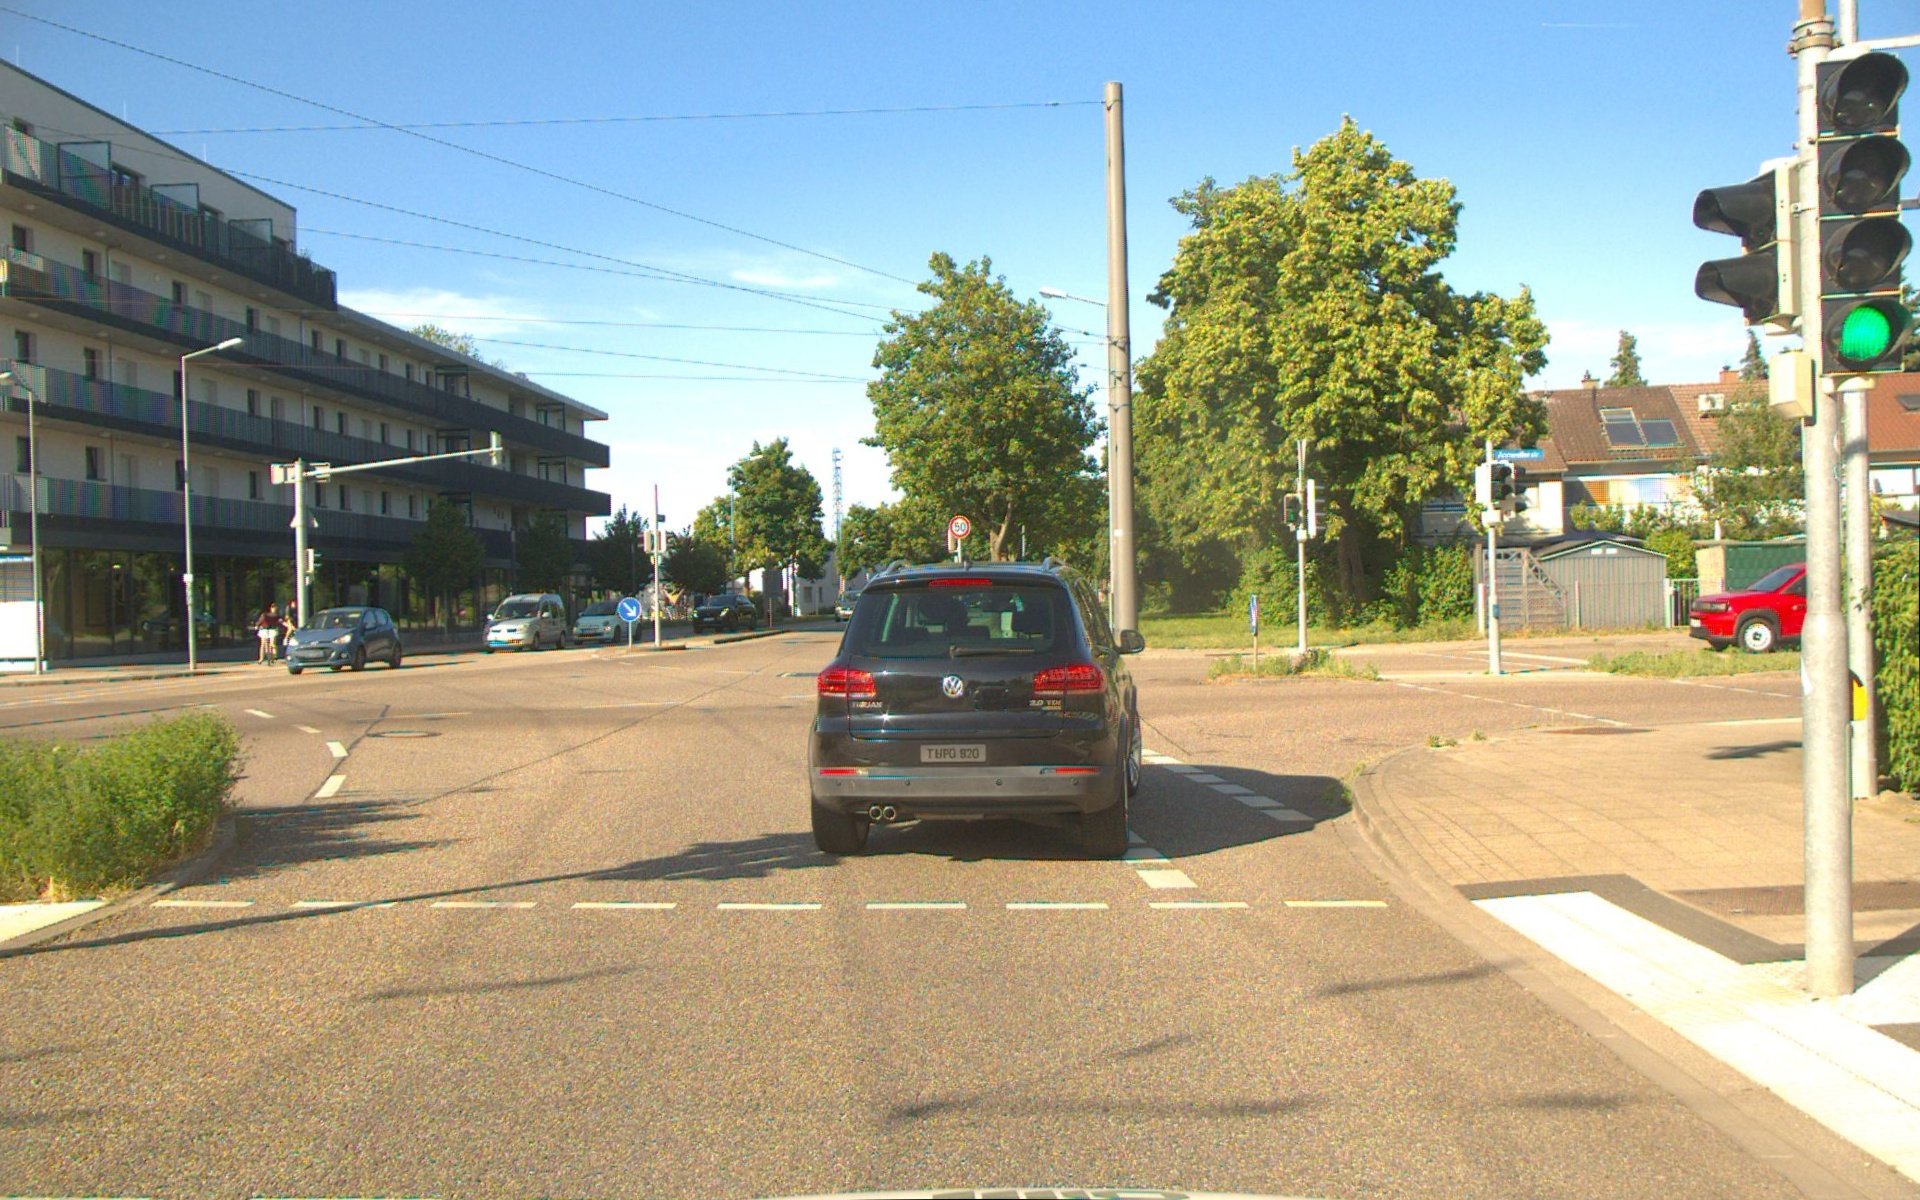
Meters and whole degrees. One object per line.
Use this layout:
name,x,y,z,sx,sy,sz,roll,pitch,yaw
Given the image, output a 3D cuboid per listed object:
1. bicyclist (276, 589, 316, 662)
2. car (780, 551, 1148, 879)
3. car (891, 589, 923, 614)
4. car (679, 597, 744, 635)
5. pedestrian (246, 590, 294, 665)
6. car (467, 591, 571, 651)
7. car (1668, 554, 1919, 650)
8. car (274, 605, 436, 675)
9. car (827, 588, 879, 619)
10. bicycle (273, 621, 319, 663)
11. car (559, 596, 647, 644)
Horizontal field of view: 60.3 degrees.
bicyclist,-19.122,0.735,47.626,0.804,2.049,0.783,-2,0,-41
car,0.263,0.585,10.891,1.888,1.683,4.517,0,0,7
car,-4.086,0.099,128.154,1.952,1.768,5.201,-2,0,3
car,-11.063,0.704,74.063,1.926,1.561,4.742,-2,0,3
pedestrian,-19.323,0.770,46.314,0.957,2.049,0.760,-2,0,-1
car,-13.806,0.625,52.083,1.952,1.786,4.363,-1,0,2
car,15.390,0.021,30.222,4.079,1.616,1.947,-1,1,5
car,-14.327,0.900,39.438,1.659,1.482,4.457,-2,0,9
car,-5.790,0.166,90.134,1.951,1.599,4.004,-2,0,9
bicycle,-19.132,1.198,47.656,0.738,1.164,1.618,-2,0,-41
car,-12.925,0.703,60.090,1.951,1.513,3.547,-4,0,7
